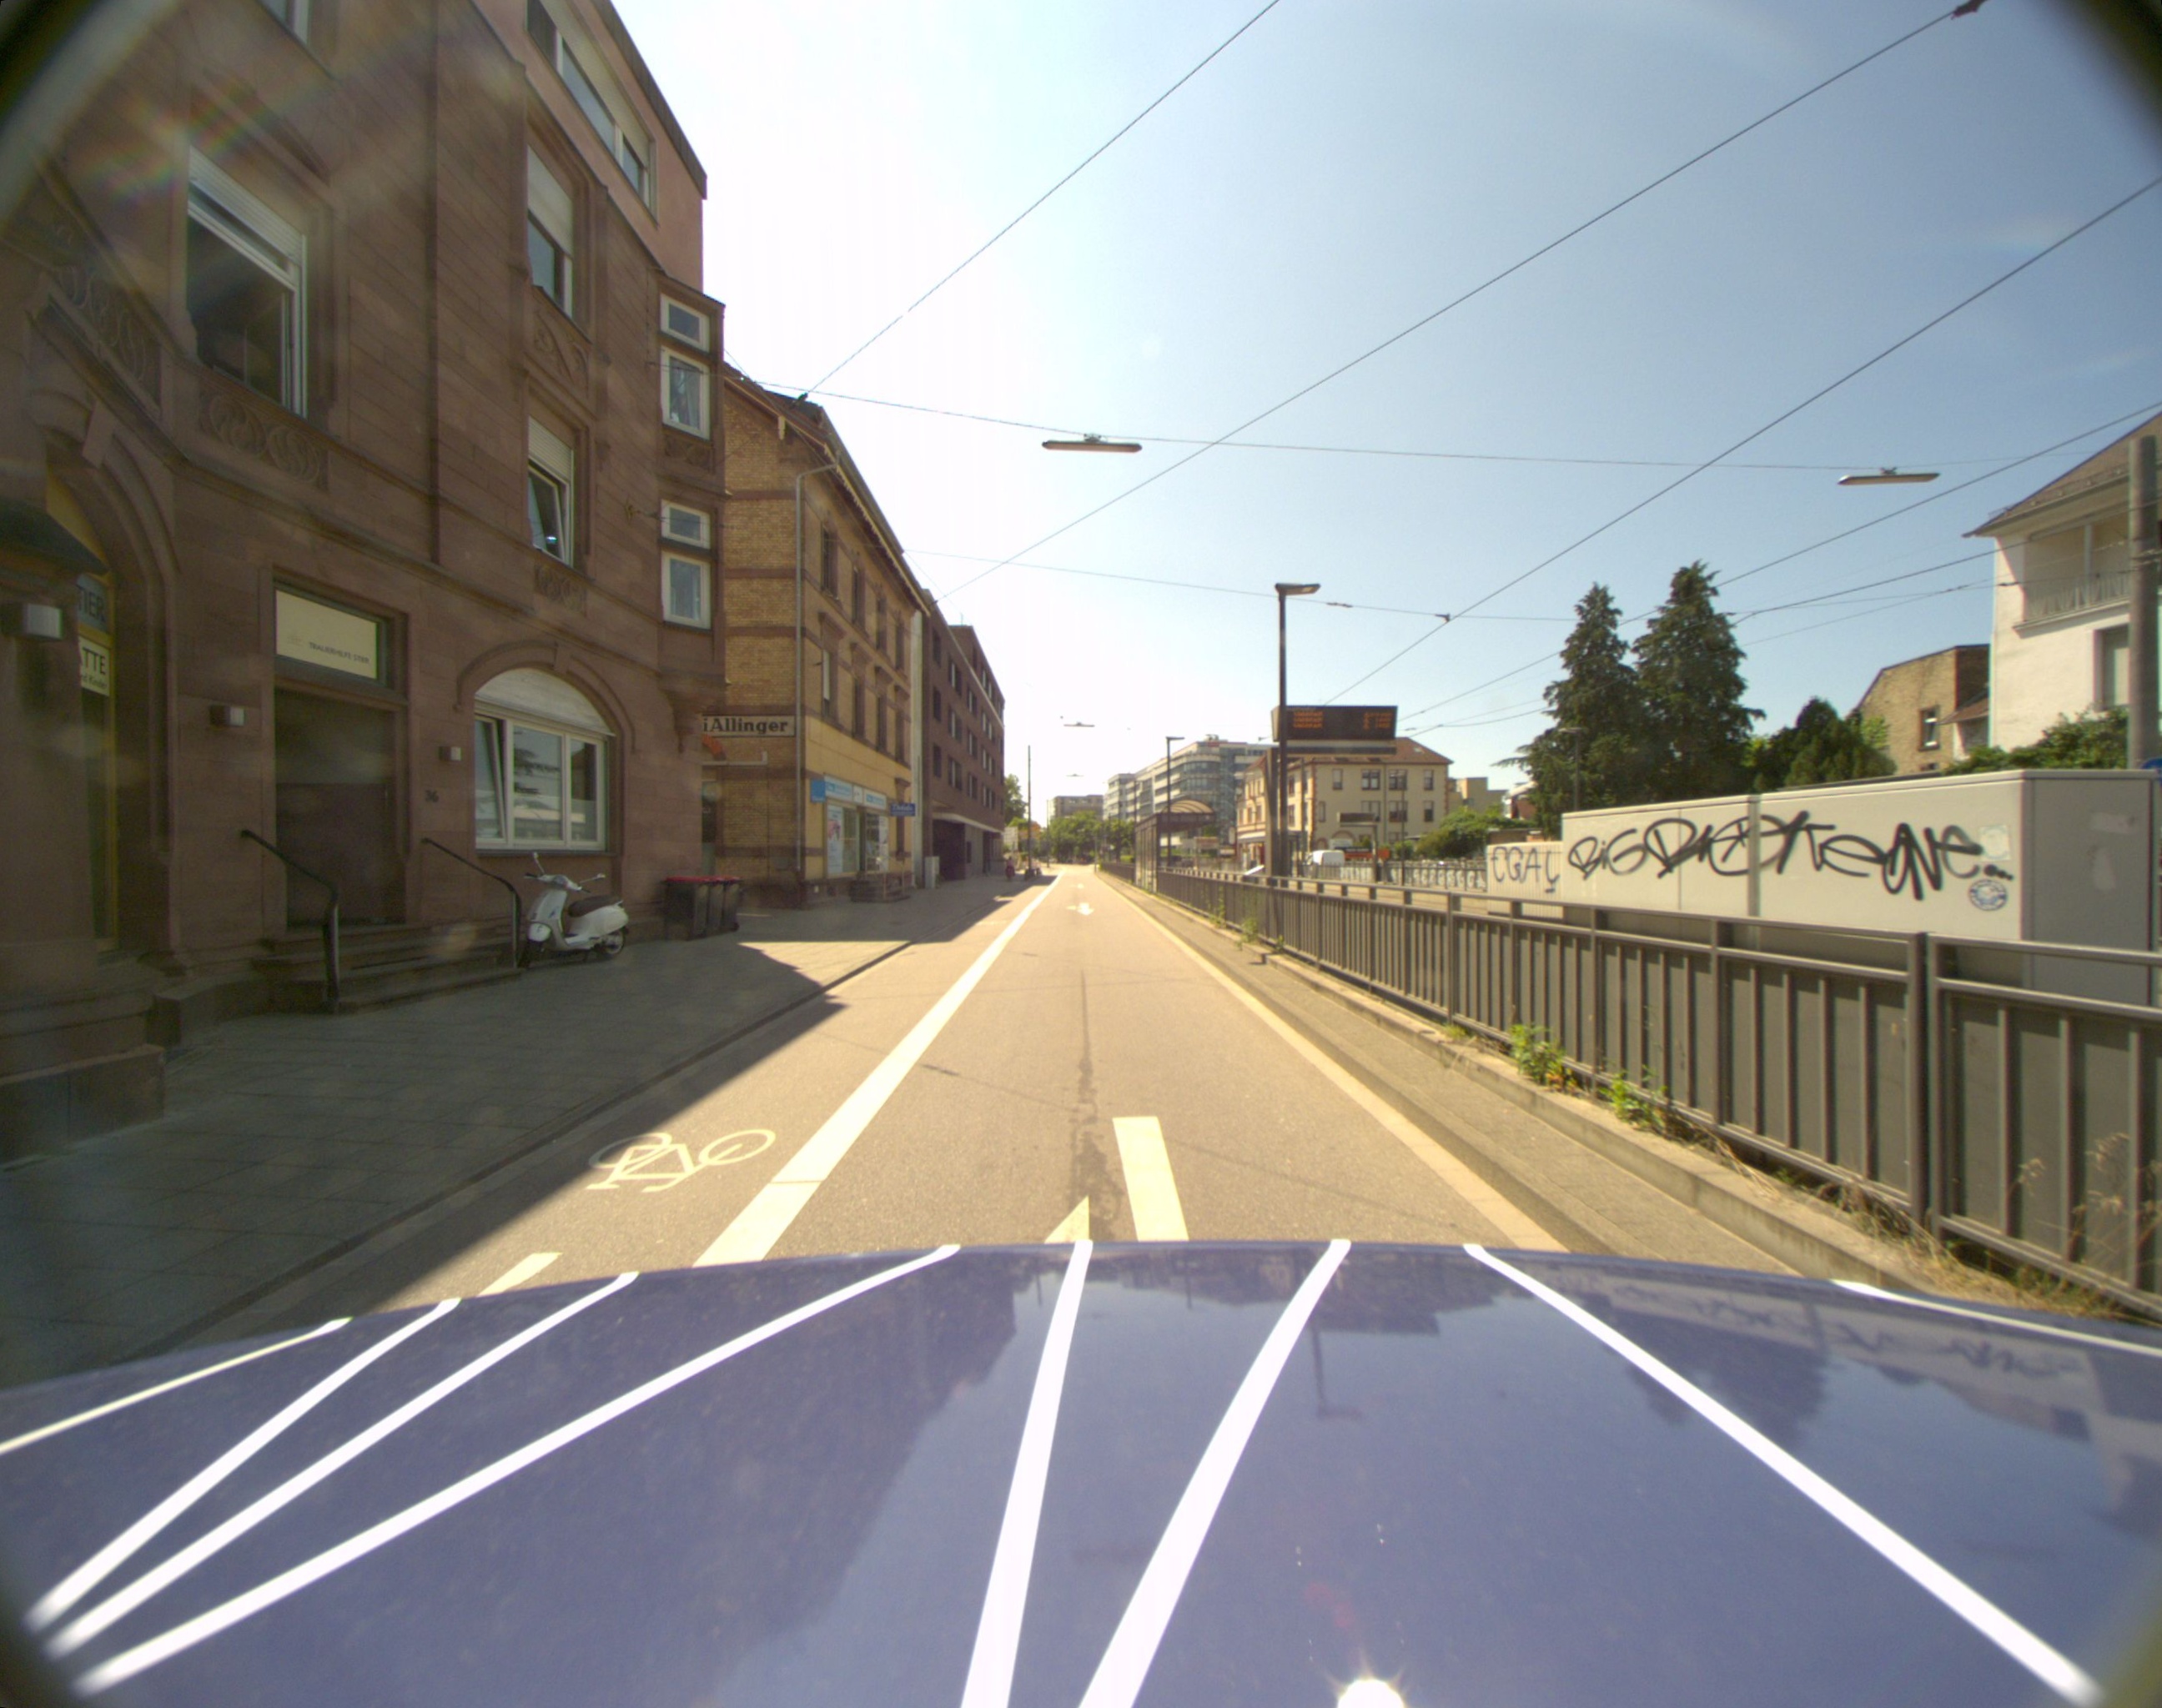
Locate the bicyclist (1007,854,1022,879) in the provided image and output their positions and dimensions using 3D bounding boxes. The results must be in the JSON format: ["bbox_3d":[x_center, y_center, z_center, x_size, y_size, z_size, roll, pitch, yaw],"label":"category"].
[{"bbox_3d":[-4.531,0.841,51.661,0.670,1.712,0.929,0,0,19],"label":"bicyclist"}]

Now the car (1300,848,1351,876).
[{"bbox_3d":[16.374,0.498,51.129,1.860,1.806,4.697,1,0,-1],"label":"car"}]

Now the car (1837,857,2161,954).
[{"bbox_3d":[16.176,0.771,13.221,1.823,1.387,4.174,1,0,-1],"label":"car"}]

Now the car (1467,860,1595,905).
[{"bbox_3d":[16.373,0.996,27.978,1.823,1.459,4.622,1,0,-2],"label":"car"}]

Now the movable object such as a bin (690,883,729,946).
[{"bbox_3d":[-6.525,1.049,13.349,0.376,1.042,0.559,2,1,0],"label":"movable object such as a bin"}]

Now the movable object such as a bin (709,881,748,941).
[{"bbox_3d":[-6.465,1.039,13.941,0.376,1.042,0.657,2,0,0],"label":"movable object such as a bin"}]

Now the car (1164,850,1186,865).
[{"bbox_3d":[12.293,0.464,99.206,1.999,1.827,3.998,-1,0,-5],"label":"car"}]

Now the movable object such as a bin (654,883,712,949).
[{"bbox_3d":[-6.685,1.032,12.772,0.649,1.042,0.559,2,1,-1],"label":"movable object such as a bin"}]

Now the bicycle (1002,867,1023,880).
[{"bbox_3d":[-4.600,1.314,51.464,0.689,0.793,1.911,-1,0,19],"label":"bicycle"}]

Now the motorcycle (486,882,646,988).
[{"bbox_3d":[-6.440,0.964,9.635,0.527,1.142,1.881,0,0,8],"label":"motorcycle"}]
